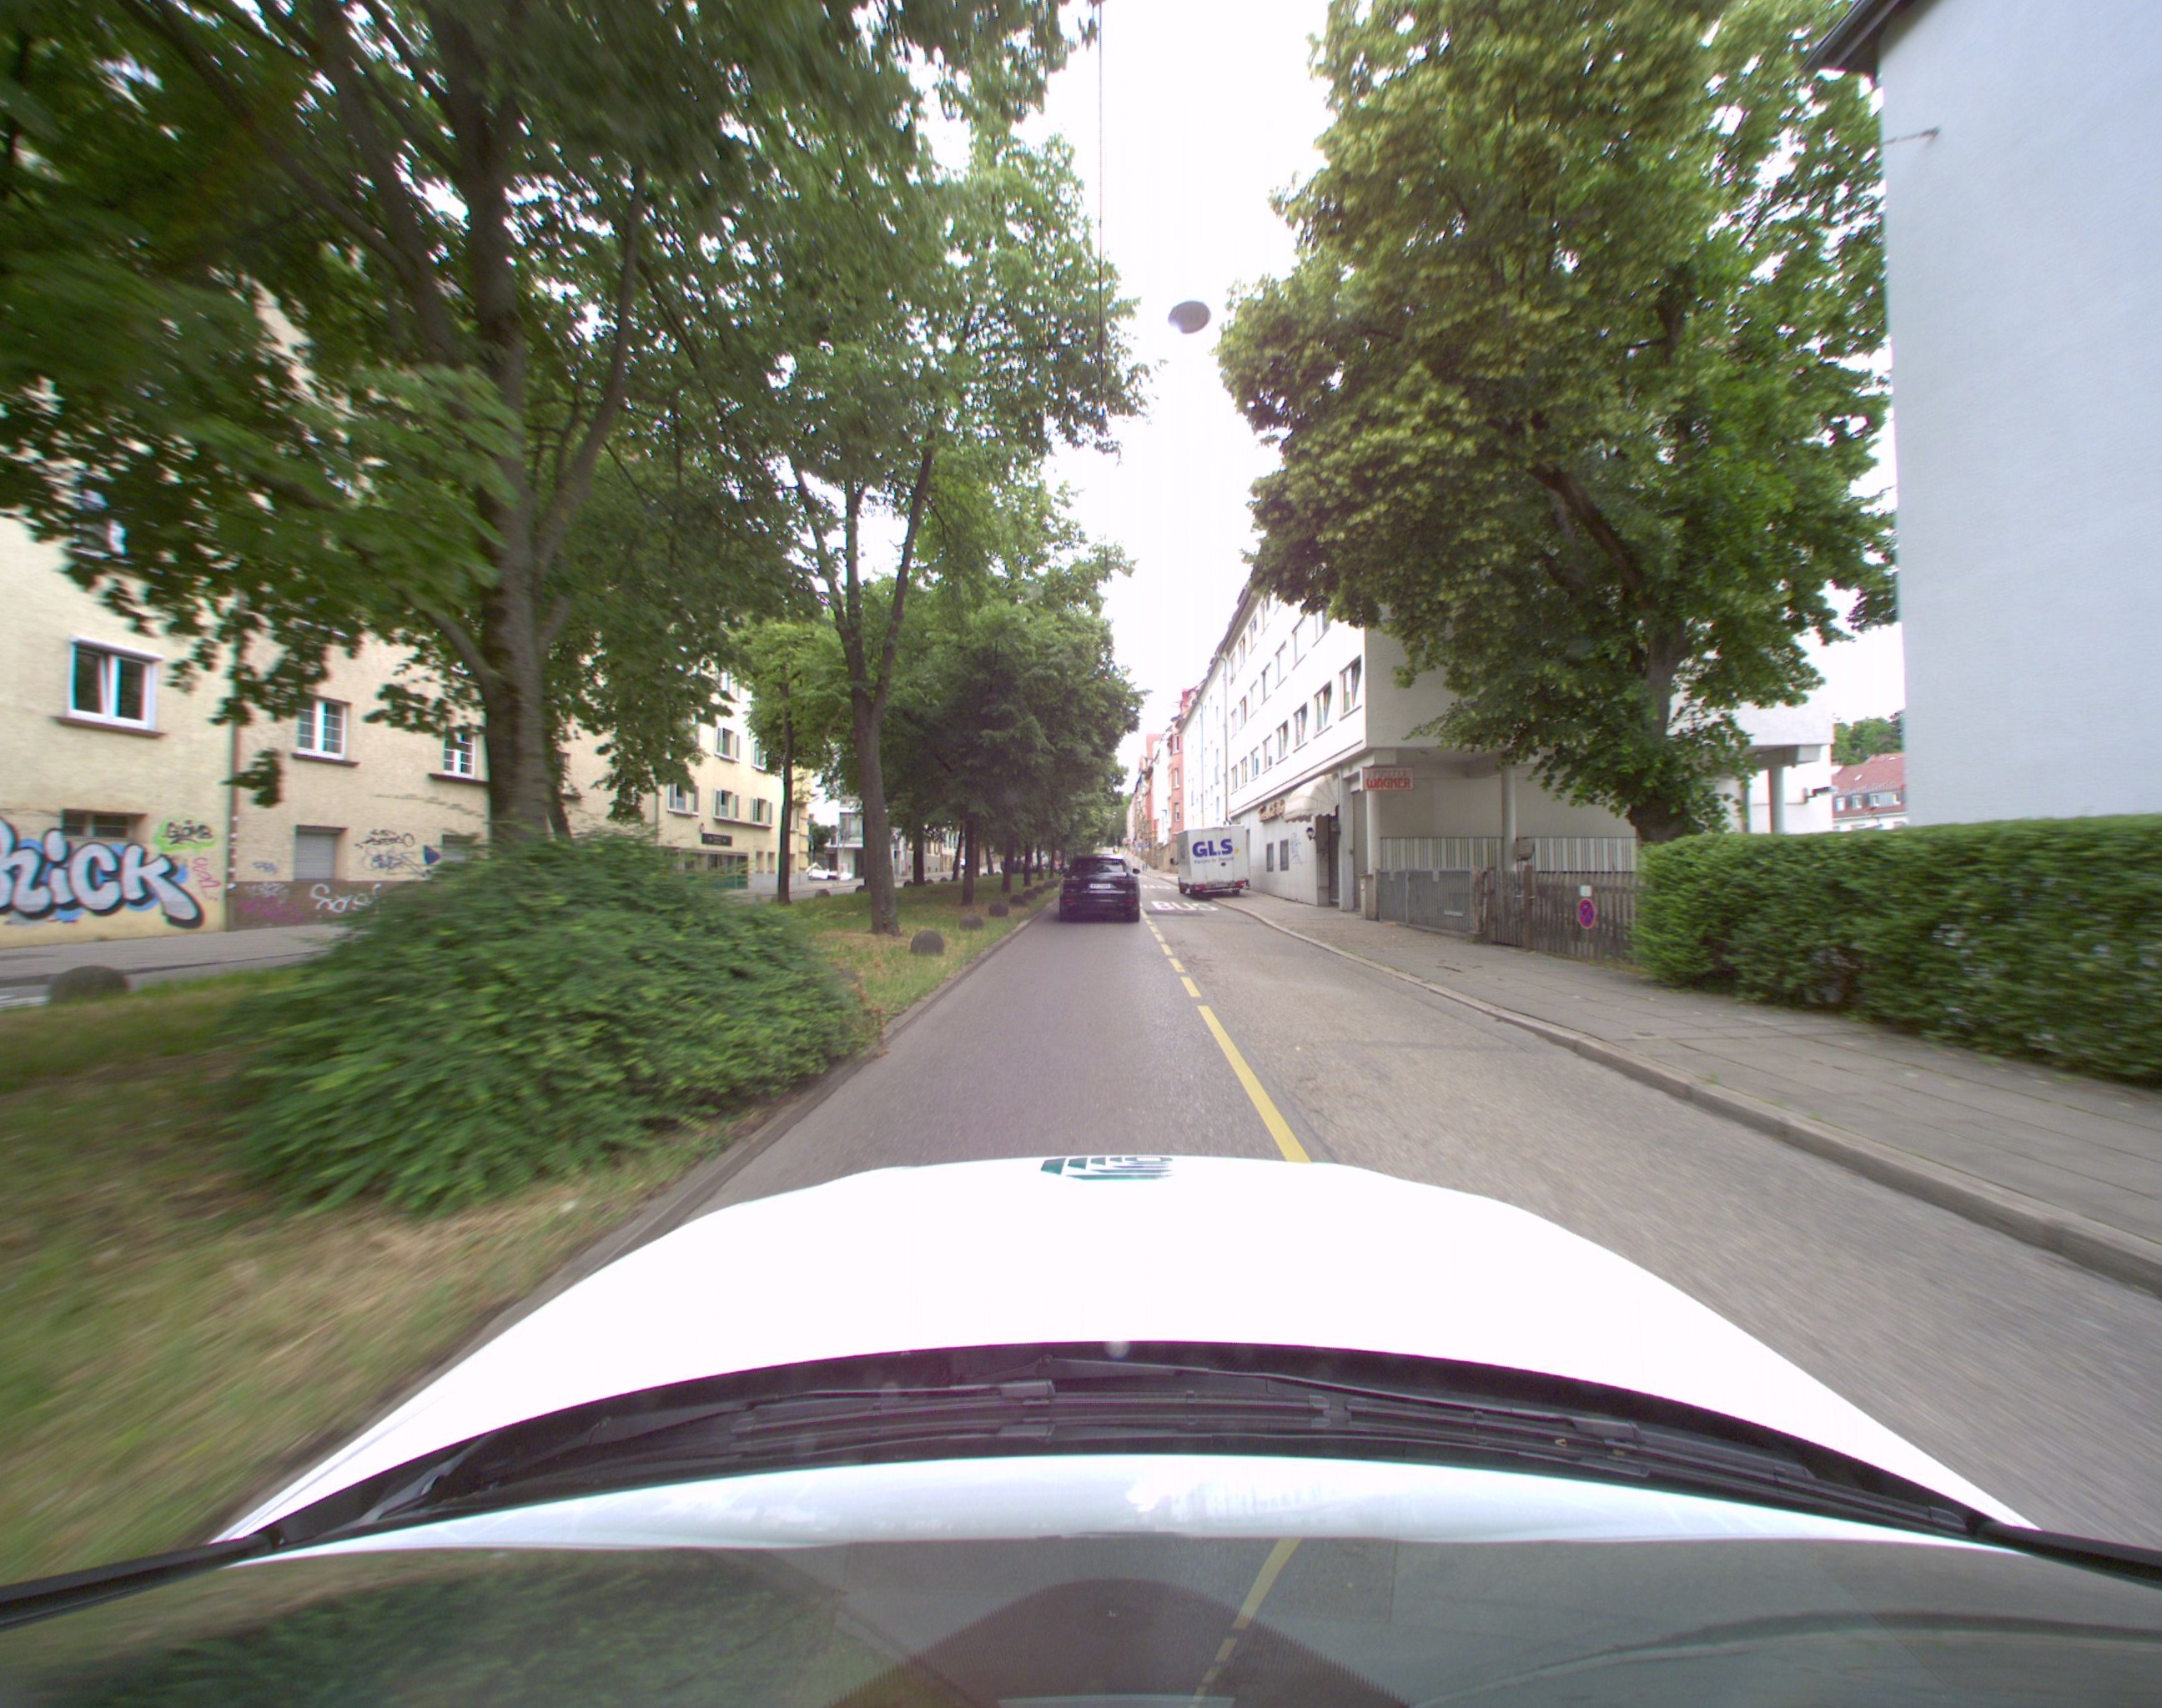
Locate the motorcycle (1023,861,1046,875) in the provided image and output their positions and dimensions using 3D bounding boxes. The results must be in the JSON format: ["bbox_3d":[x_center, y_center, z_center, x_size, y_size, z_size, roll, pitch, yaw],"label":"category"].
[{"bbox_3d":[-4.320,1.271,75.499,2.018,1.235,0.898,-1,0,6],"label":"motorcycle"}]

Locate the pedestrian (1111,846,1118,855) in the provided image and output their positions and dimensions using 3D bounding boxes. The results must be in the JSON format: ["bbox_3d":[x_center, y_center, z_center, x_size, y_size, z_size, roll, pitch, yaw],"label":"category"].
[{"bbox_3d":[7.670,-0.820,186.038,1.304,2.014,1.014,0,-1,-17],"label":"pedestrian"}]

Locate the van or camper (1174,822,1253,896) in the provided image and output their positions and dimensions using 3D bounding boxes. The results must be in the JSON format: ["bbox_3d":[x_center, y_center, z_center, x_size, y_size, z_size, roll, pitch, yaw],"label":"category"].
[{"bbox_3d":[5.430,0.217,34.494,2.470,2.803,7.242,0,0,2],"label":"van or camper"}]

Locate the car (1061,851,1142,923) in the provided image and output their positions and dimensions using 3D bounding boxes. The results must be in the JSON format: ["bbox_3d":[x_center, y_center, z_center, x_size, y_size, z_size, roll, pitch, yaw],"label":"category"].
[{"bbox_3d":[0.501,0.779,21.135,1.897,1.666,4.135,0,0,0],"label":"car"}]

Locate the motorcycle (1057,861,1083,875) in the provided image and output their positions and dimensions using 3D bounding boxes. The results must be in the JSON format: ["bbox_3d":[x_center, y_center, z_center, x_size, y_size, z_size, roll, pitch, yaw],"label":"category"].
[{"bbox_3d":[-1.007,1.270,74.840,2.347,1.235,1.033,0,1,0],"label":"motorcycle"}]

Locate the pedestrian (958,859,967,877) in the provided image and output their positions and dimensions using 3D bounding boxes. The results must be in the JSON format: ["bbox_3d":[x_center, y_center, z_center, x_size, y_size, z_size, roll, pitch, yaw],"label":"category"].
[{"bbox_3d":[-10.858,1.311,74.601,0.660,1.616,0.580,0,0,3],"label":"pedestrian"}]

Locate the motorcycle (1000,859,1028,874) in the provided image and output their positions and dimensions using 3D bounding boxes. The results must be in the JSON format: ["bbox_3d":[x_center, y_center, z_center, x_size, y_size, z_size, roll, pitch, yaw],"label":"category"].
[{"bbox_3d":[-5.928,1.078,72.164,2.374,1.317,1.046,0,0,0],"label":"motorcycle"}]

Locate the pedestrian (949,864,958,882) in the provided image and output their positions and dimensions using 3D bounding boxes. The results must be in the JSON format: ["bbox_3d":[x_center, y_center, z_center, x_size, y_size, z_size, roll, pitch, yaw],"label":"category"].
[{"bbox_3d":[-11.488,1.673,73.289,0.631,1.613,0.765,1,0,4],"label":"pedestrian"}]

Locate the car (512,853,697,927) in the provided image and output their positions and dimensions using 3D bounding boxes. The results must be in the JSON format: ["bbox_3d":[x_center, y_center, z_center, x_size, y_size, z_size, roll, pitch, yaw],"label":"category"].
[{"bbox_3d":[-11.588,0.821,20.239,1.942,1.628,4.365,0,0,1],"label":"car"}]

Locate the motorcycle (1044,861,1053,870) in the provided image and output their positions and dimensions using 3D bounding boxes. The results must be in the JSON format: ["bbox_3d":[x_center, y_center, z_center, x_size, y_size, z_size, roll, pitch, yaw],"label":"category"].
[{"bbox_3d":[-4.007,1.413,99.289,0.897,1.107,2.252,-1,-2,2],"label":"motorcycle"}]
